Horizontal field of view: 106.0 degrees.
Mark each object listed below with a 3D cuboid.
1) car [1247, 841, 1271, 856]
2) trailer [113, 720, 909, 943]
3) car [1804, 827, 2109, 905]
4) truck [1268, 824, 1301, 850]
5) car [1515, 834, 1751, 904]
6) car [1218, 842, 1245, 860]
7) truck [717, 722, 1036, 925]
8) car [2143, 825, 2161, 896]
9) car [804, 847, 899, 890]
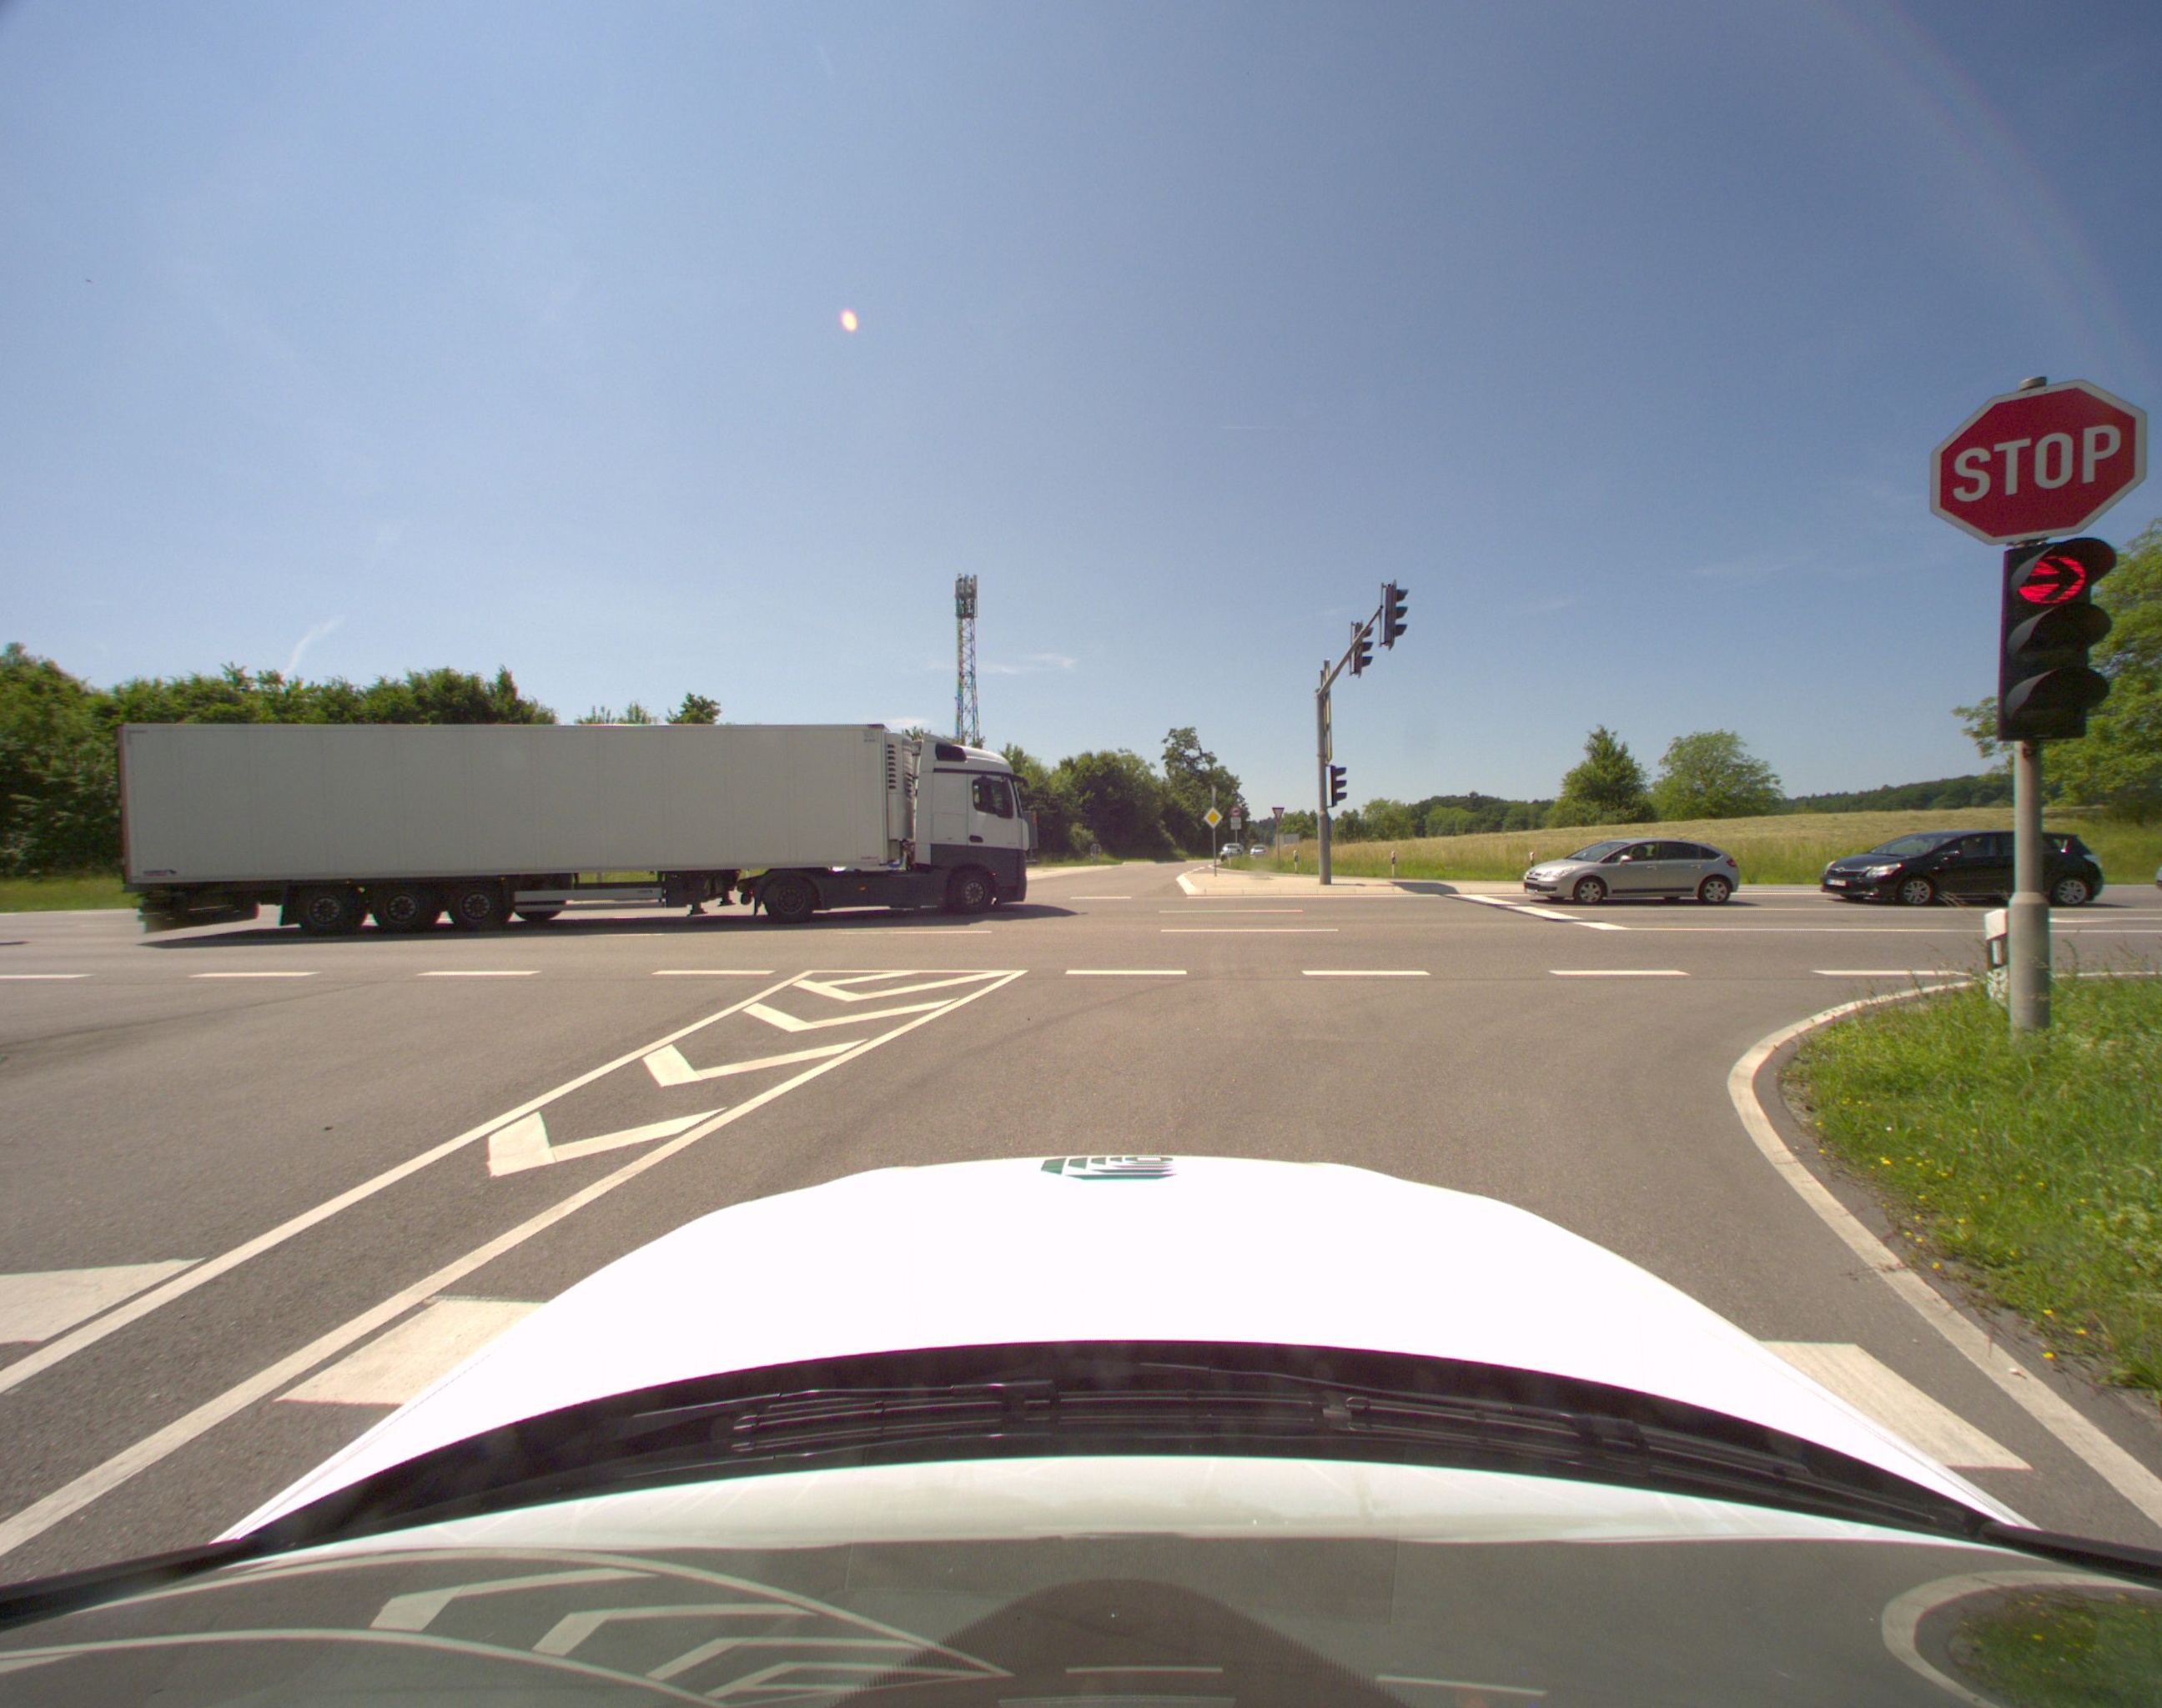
[{"bbox_3d":[17.841,-0.595,81.537,1.797,1.413,3.803,-1,2,20],"label":"car"},{"bbox_3d":[-10.767,-0.549,16.956,13.780,4.036,2.655,-1,1,-8],"label":"trailer"},{"bbox_3d":[18.723,0.225,17.619,4.342,1.553,1.734,0,2,9],"label":"car"},{"bbox_3d":[35.617,-2.856,143.057,3.110,4.172,16.712,-1,0,5],"label":"truck"},{"bbox_3d":[12.414,0.313,18.543,4.135,1.469,1.733,0,2,6],"label":"car"},{"bbox_3d":[12.716,-0.248,68.545,1.715,1.404,4.005,0,2,17],"label":"car"},{"bbox_3d":[-4.222,-0.696,17.873,6.255,4.036,2.654,-1,1,-8],"label":"truck"},{"bbox_3d":[25.873,0.155,17.283,3.984,1.553,1.660,0,2,9],"label":"car"},{"bbox_3d":[-8.245,0.494,29.560,1.552,1.370,3.548,-1,1,18],"label":"car"}]
